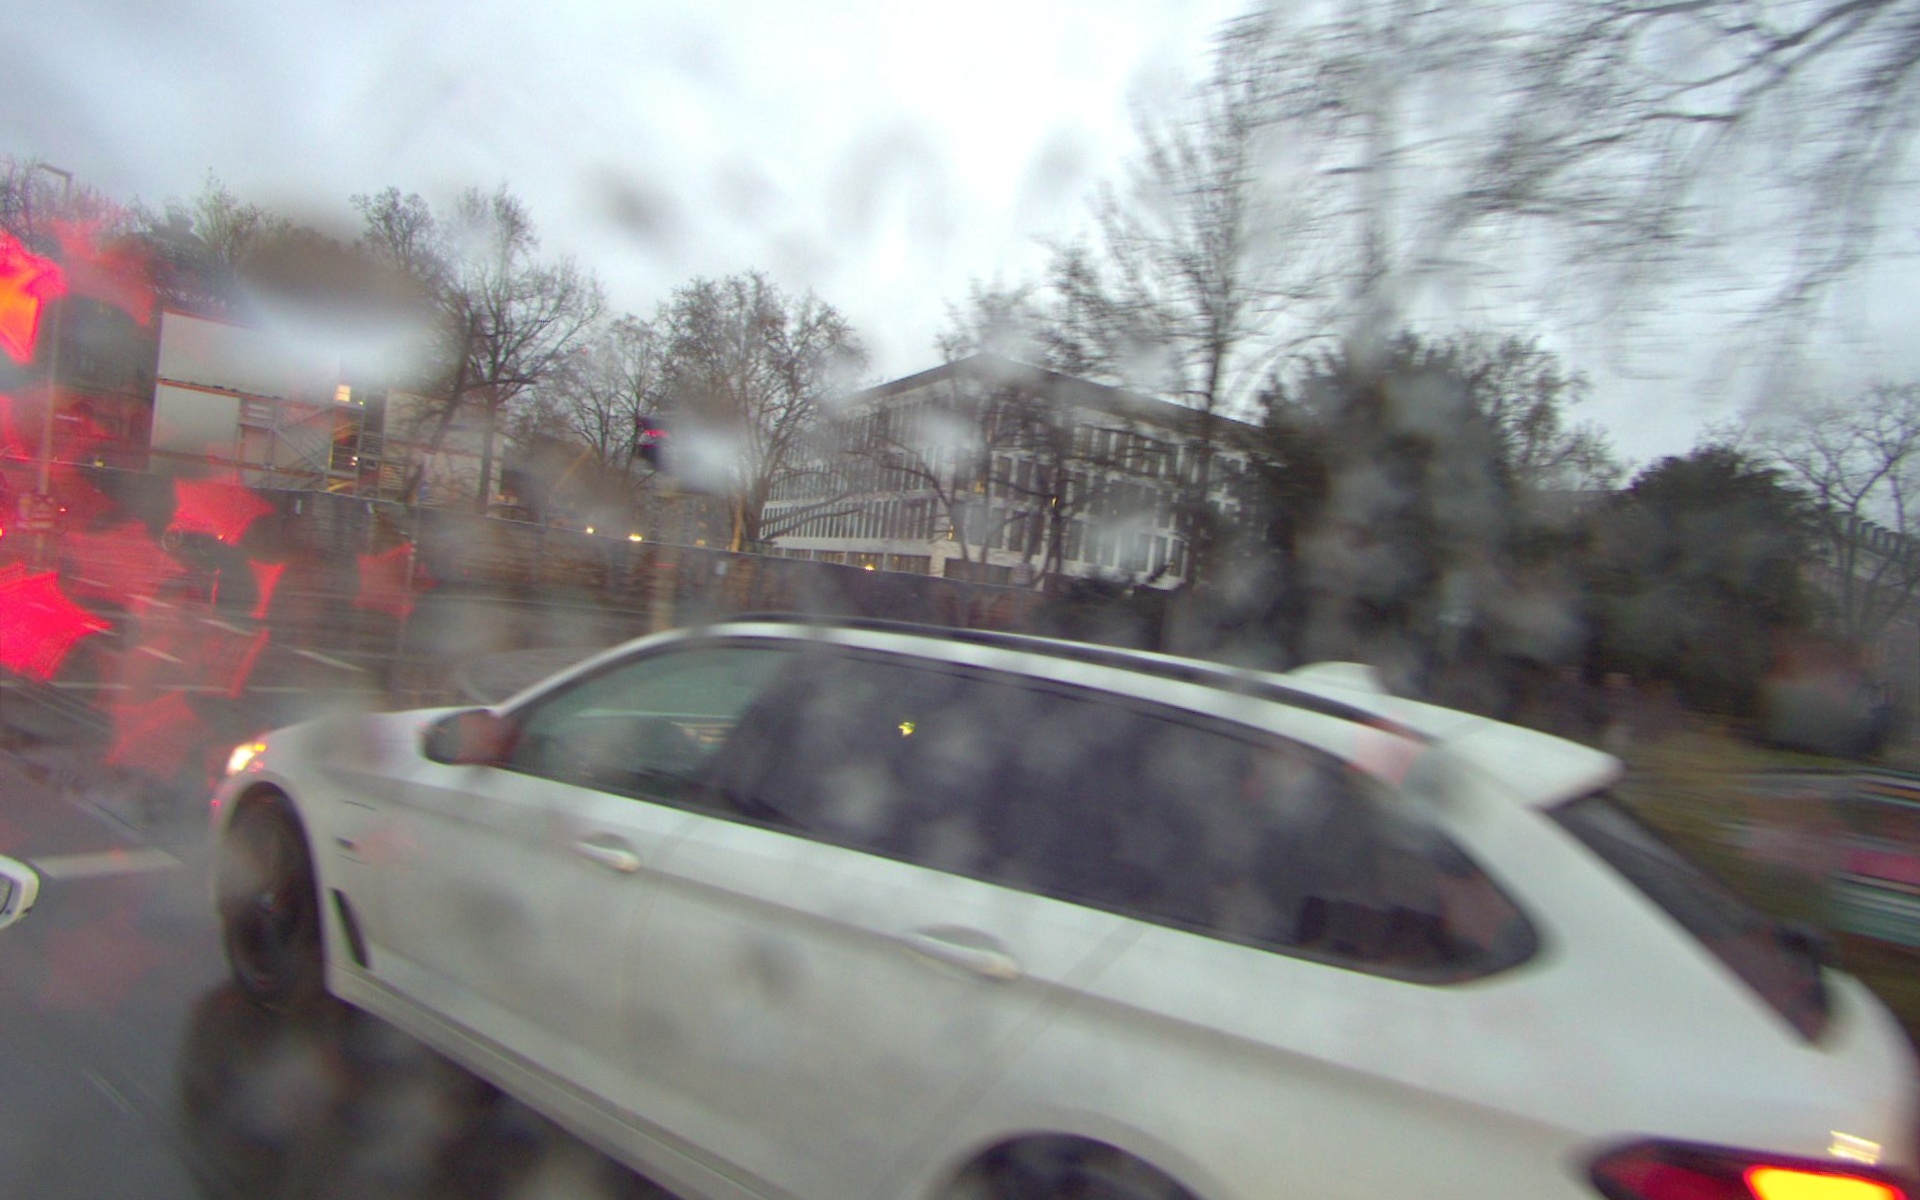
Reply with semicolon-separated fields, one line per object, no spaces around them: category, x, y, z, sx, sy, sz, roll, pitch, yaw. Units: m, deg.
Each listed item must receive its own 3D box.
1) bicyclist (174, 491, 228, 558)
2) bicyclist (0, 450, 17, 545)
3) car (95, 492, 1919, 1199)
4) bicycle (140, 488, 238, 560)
bicyclist;-20.829;-2.058;27.620;0.802;1.700;0.697;7;1;11
bicyclist;-18.711;-2.004;19.347;0.823;1.790;0.500;8;2;29
car;-0.471;0.686;3.072;4.885;1.519;1.790;7;-1;32
bicycle;-21.247;-2.094;27.733;2.204;1.676;0.691;7;-1;11
